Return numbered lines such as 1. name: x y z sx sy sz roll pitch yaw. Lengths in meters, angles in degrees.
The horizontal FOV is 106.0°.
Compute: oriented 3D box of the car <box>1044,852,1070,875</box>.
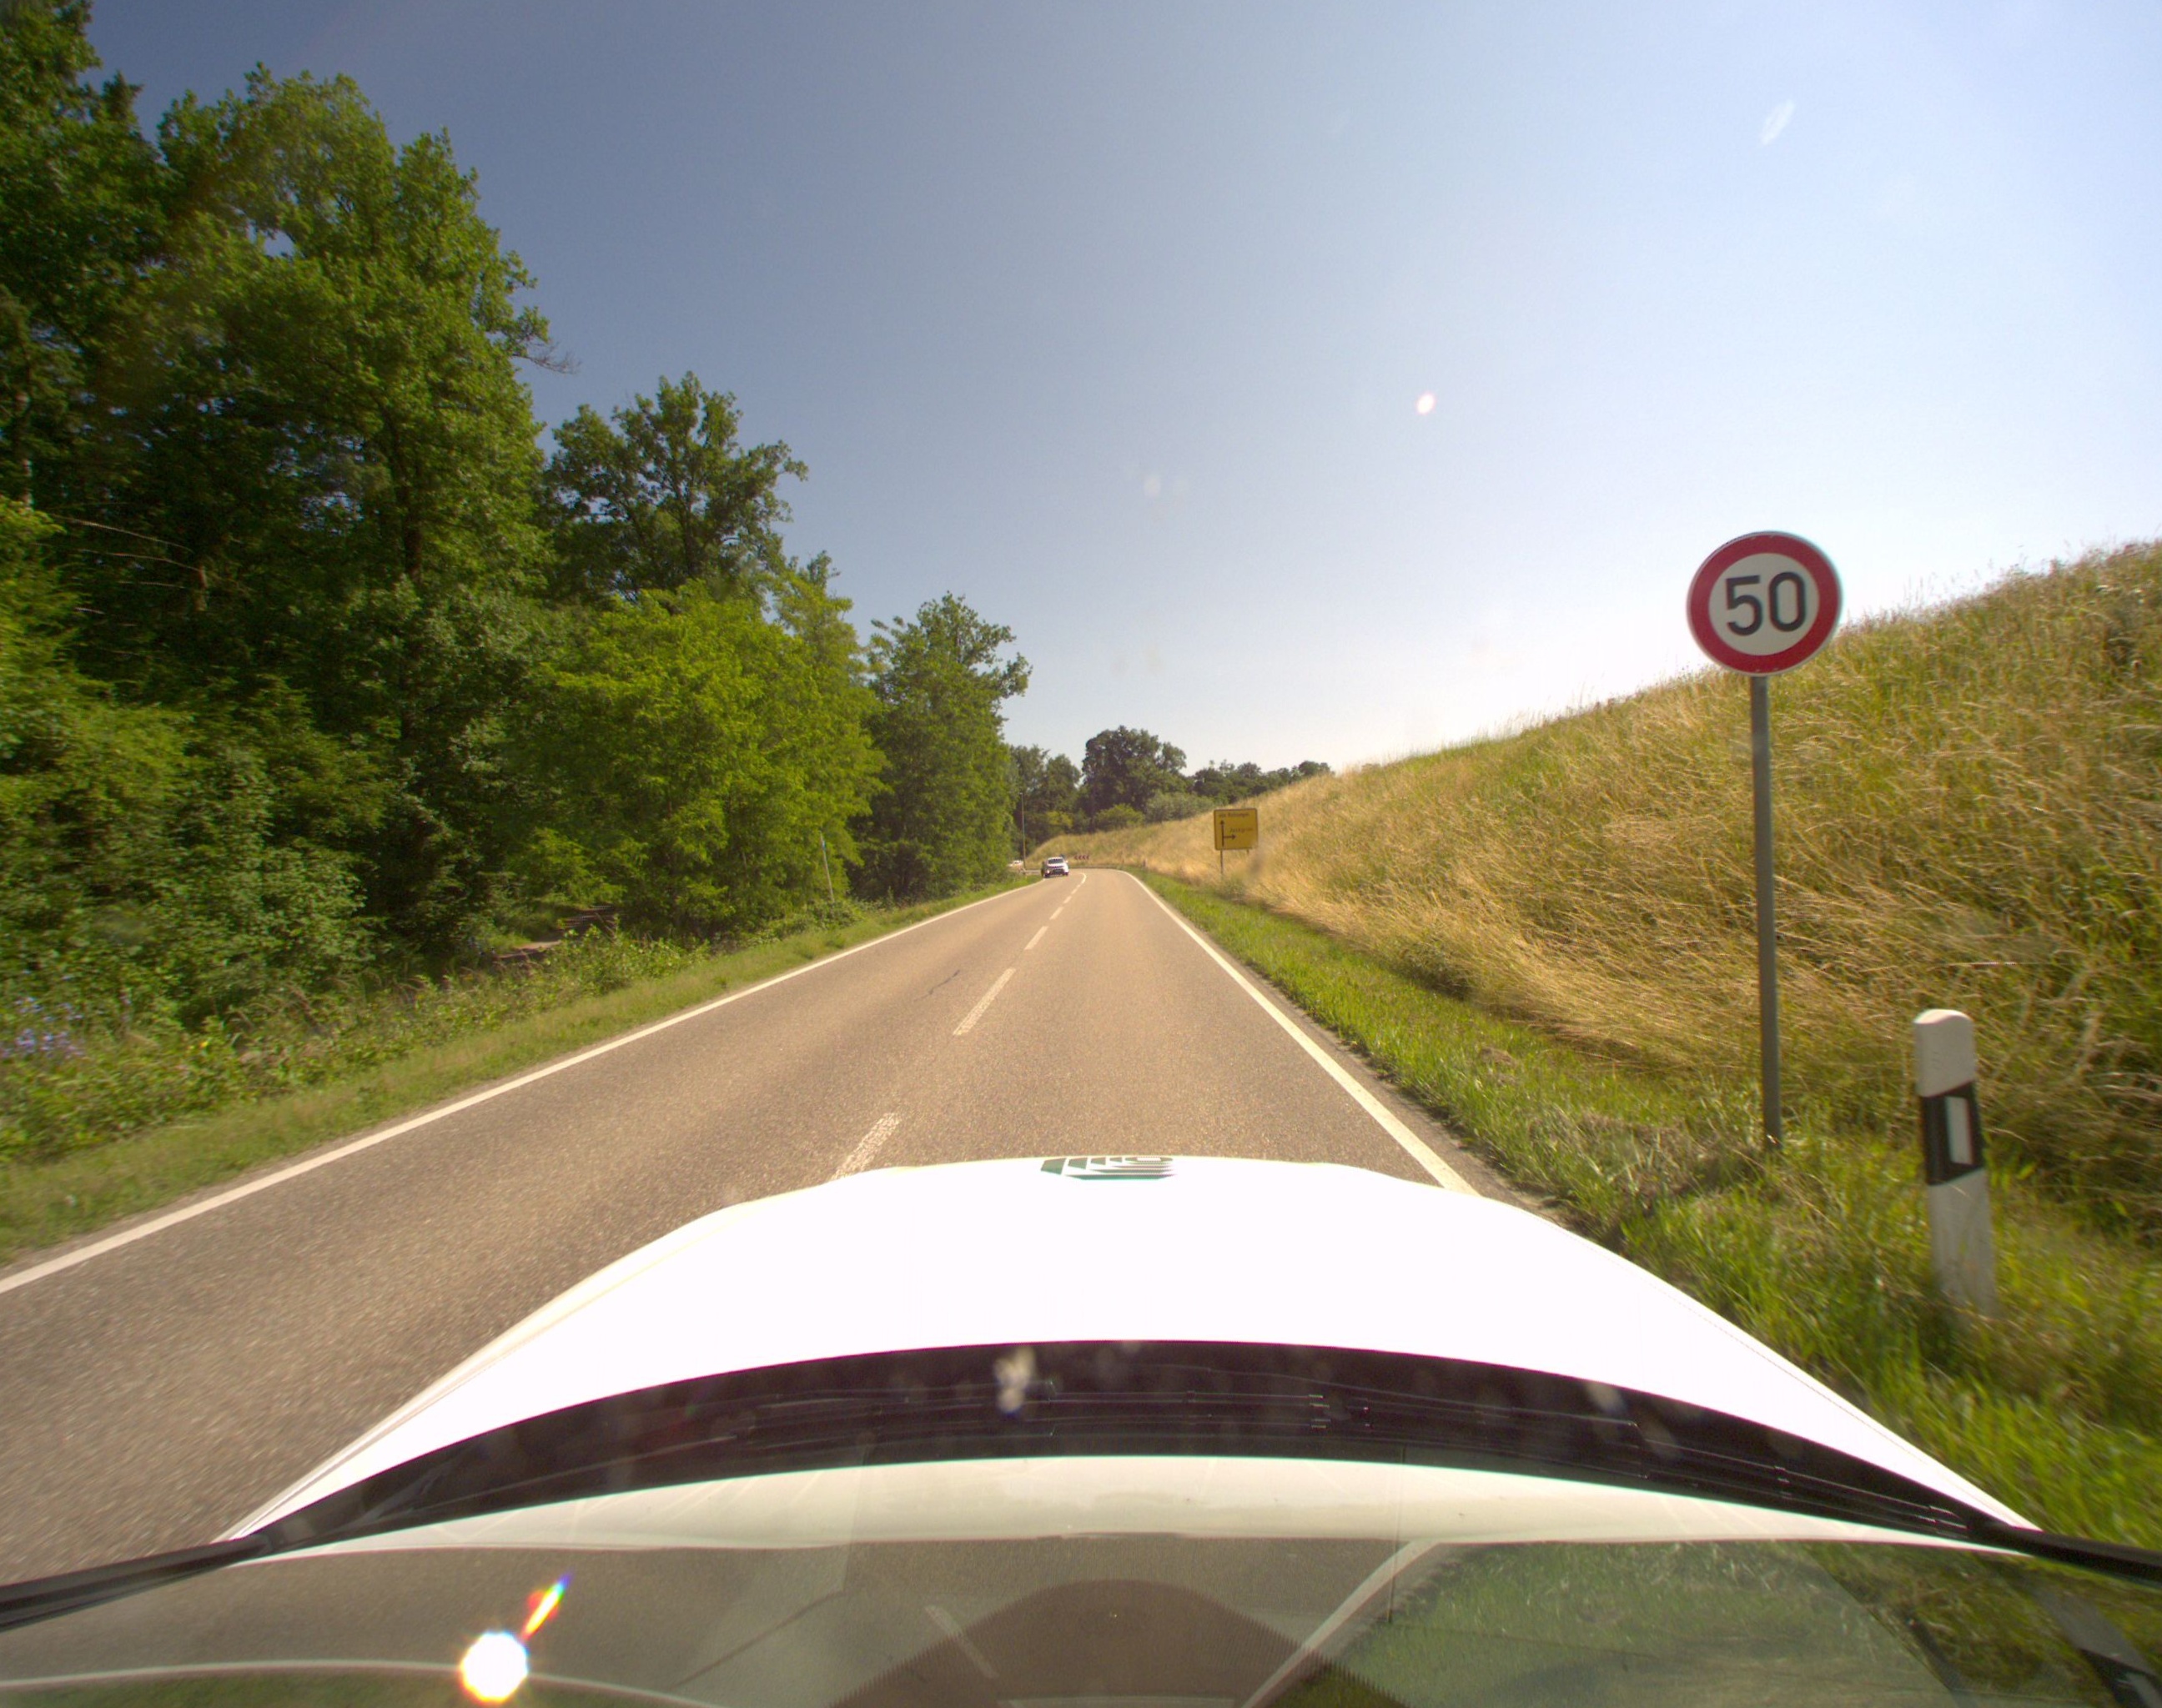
1. car: -1.977 0.782 67.749 1.803 1.676 4.001 -5 0 1
